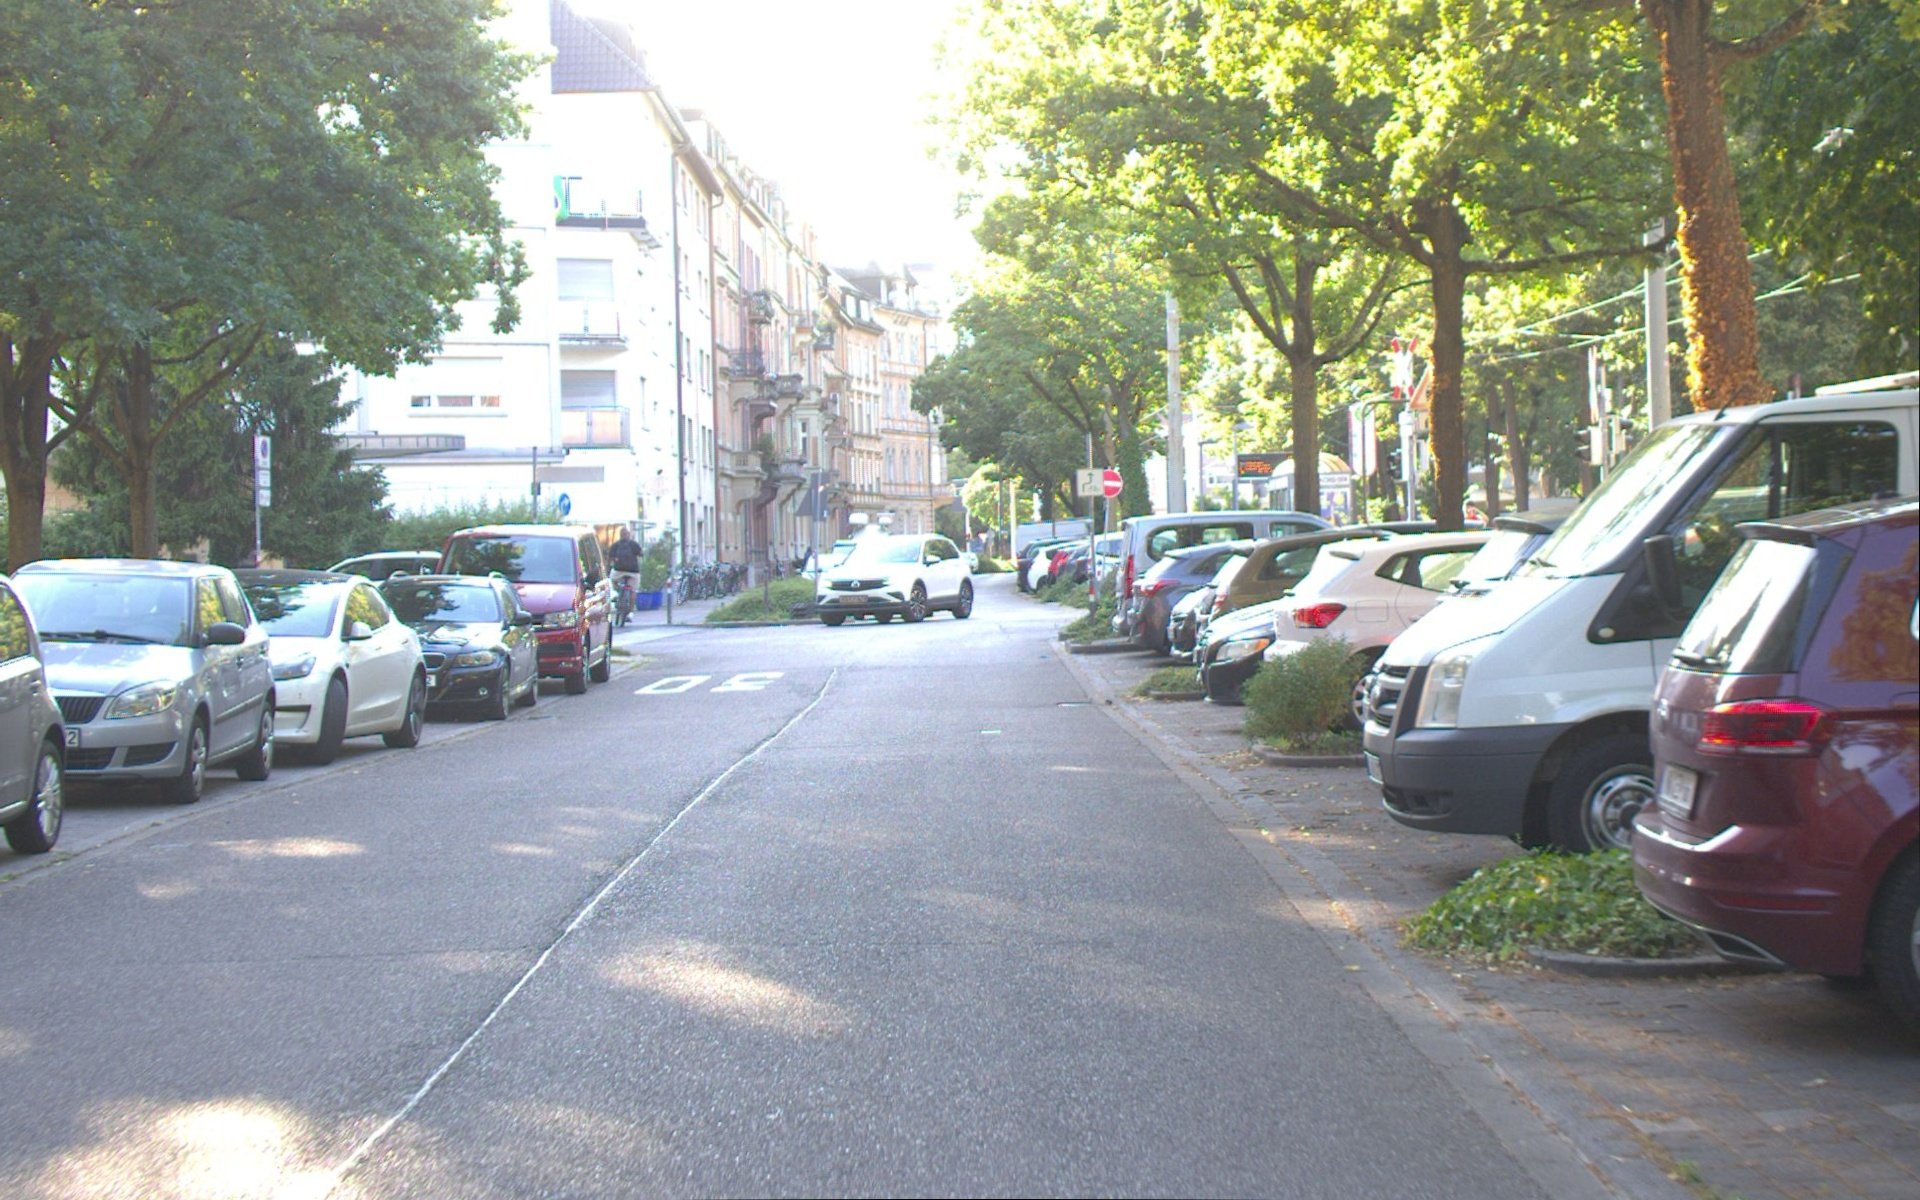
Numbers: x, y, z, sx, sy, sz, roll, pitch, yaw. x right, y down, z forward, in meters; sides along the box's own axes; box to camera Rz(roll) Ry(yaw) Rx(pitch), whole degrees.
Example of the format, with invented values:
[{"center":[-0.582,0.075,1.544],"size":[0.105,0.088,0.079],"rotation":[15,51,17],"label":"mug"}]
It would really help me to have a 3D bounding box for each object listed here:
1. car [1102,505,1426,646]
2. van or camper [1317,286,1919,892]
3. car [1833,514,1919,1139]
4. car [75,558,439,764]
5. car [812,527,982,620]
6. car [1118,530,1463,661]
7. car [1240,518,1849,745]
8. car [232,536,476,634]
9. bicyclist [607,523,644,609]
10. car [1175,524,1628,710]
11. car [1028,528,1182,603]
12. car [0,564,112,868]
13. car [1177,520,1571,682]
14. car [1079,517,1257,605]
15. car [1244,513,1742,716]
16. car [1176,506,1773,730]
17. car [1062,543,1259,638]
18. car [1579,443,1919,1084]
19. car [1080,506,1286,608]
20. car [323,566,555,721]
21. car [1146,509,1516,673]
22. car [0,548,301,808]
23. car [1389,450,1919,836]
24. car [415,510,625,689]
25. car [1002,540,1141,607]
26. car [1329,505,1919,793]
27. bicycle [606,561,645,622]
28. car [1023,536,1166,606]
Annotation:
[{"center":[3.932,-0.302,44.921],"size":[3.986,1.788,1.859],"rotation":[0,-1,-2],"label":"car"},{"center":[4.153,-0.041,14.633],"size":[4.981,2.369,2.185],"rotation":[0,-1,-1],"label":"van or camper"},{"center":[4.186,0.433,7.614],"size":[3.987,1.456,1.859],"rotation":[-3,1,2],"label":"car"},{"center":[-5.378,0.415,26.856],"size":[1.756,1.461,4.267],"rotation":[0,1,3],"label":"car"},{"center":[-1.126,-0.508,63.930],"size":[1.780,1.668,4.483],"rotation":[0,1,18],"label":"car"},{"center":[4.019,-0.041,42.248],"size":[3.986,1.558,1.859],"rotation":[0,-1,-2],"label":"car"},{"center":[4.111,0.227,24.632],"size":[3.986,1.543,1.859],"rotation":[0,-1,-2],"label":"car"},{"center":[-10.802,-0.259,61.481],"size":[3.987,1.700,2.000],"rotation":[0,-1,2],"label":"car"},{"center":[-6.153,-0.626,63.255],"size":[0.627,1.568,0.802],"rotation":[0,-1,-3],"label":"bicyclist"},{"center":[4.133,0.163,32.614],"size":[3.986,1.694,1.859],"rotation":[0,-1,-2],"label":"car"},{"center":[4.035,-0.935,95.551],"size":[3.989,2.007,1.999],"rotation":[0,-1,12],"label":"car"},{"center":[-5.417,0.553,16.323],"size":[1.704,1.424,3.877],"rotation":[1,1,2],"label":"car"},{"center":[4.436,0.023,37.272],"size":[3.986,1.694,1.859],"rotation":[0,-1,-2],"label":"car"},{"center":[4.988,-0.920,82.139],"size":[3.989,2.007,1.999],"rotation":[0,-1,12],"label":"car"},{"center":[4.583,0.128,29.955],"size":[3.986,1.694,1.859],"rotation":[0,-1,-2],"label":"car"},{"center":[4.004,0.146,27.250],"size":[4.389,1.694,1.859],"rotation":[0,-1,-2],"label":"car"},{"center":[4.361,-0.191,74.400],"size":[3.989,2.007,1.999],"rotation":[0,-1,12],"label":"car"},{"center":[4.001,0.332,10.077],"size":[3.987,1.685,1.859],"rotation":[-3,1,2],"label":"car"},{"center":[4.617,-0.860,70.870],"size":[3.989,2.007,1.999],"rotation":[0,-1,12],"label":"car"},{"center":[-5.308,0.402,35.515],"size":[1.756,1.461,4.268],"rotation":[0,1,0],"label":"car"},{"center":[4.223,-0.093,39.571],"size":[3.986,1.819,1.859],"rotation":[0,-1,-2],"label":"car"},{"center":[-5.500,0.428,22.183],"size":[1.756,1.510,4.162],"rotation":[0,1,-1],"label":"car"},{"center":[4.286,0.181,17.200],"size":[3.986,1.811,1.859],"rotation":[0,1,-2],"label":"car"},{"center":[-5.188,-0.039,41.044],"size":[1.957,2.011,4.268],"rotation":[0,1,0],"label":"car"},{"center":[3.440,-0.802,105.950],"size":[3.989,2.007,1.999],"rotation":[0,-1,12],"label":"car"},{"center":[4.225,0.272,19.574],"size":[3.986,1.543,1.859],"rotation":[0,-1,-2],"label":"car"},{"center":[-6.150,-0.153,63.259],"size":[0.641,1.096,1.944],"rotation":[0,-1,-4],"label":"bicycle"},{"center":[4.022,-0.849,102.411],"size":[3.989,2.007,1.999],"rotation":[0,-1,12],"label":"car"}]
